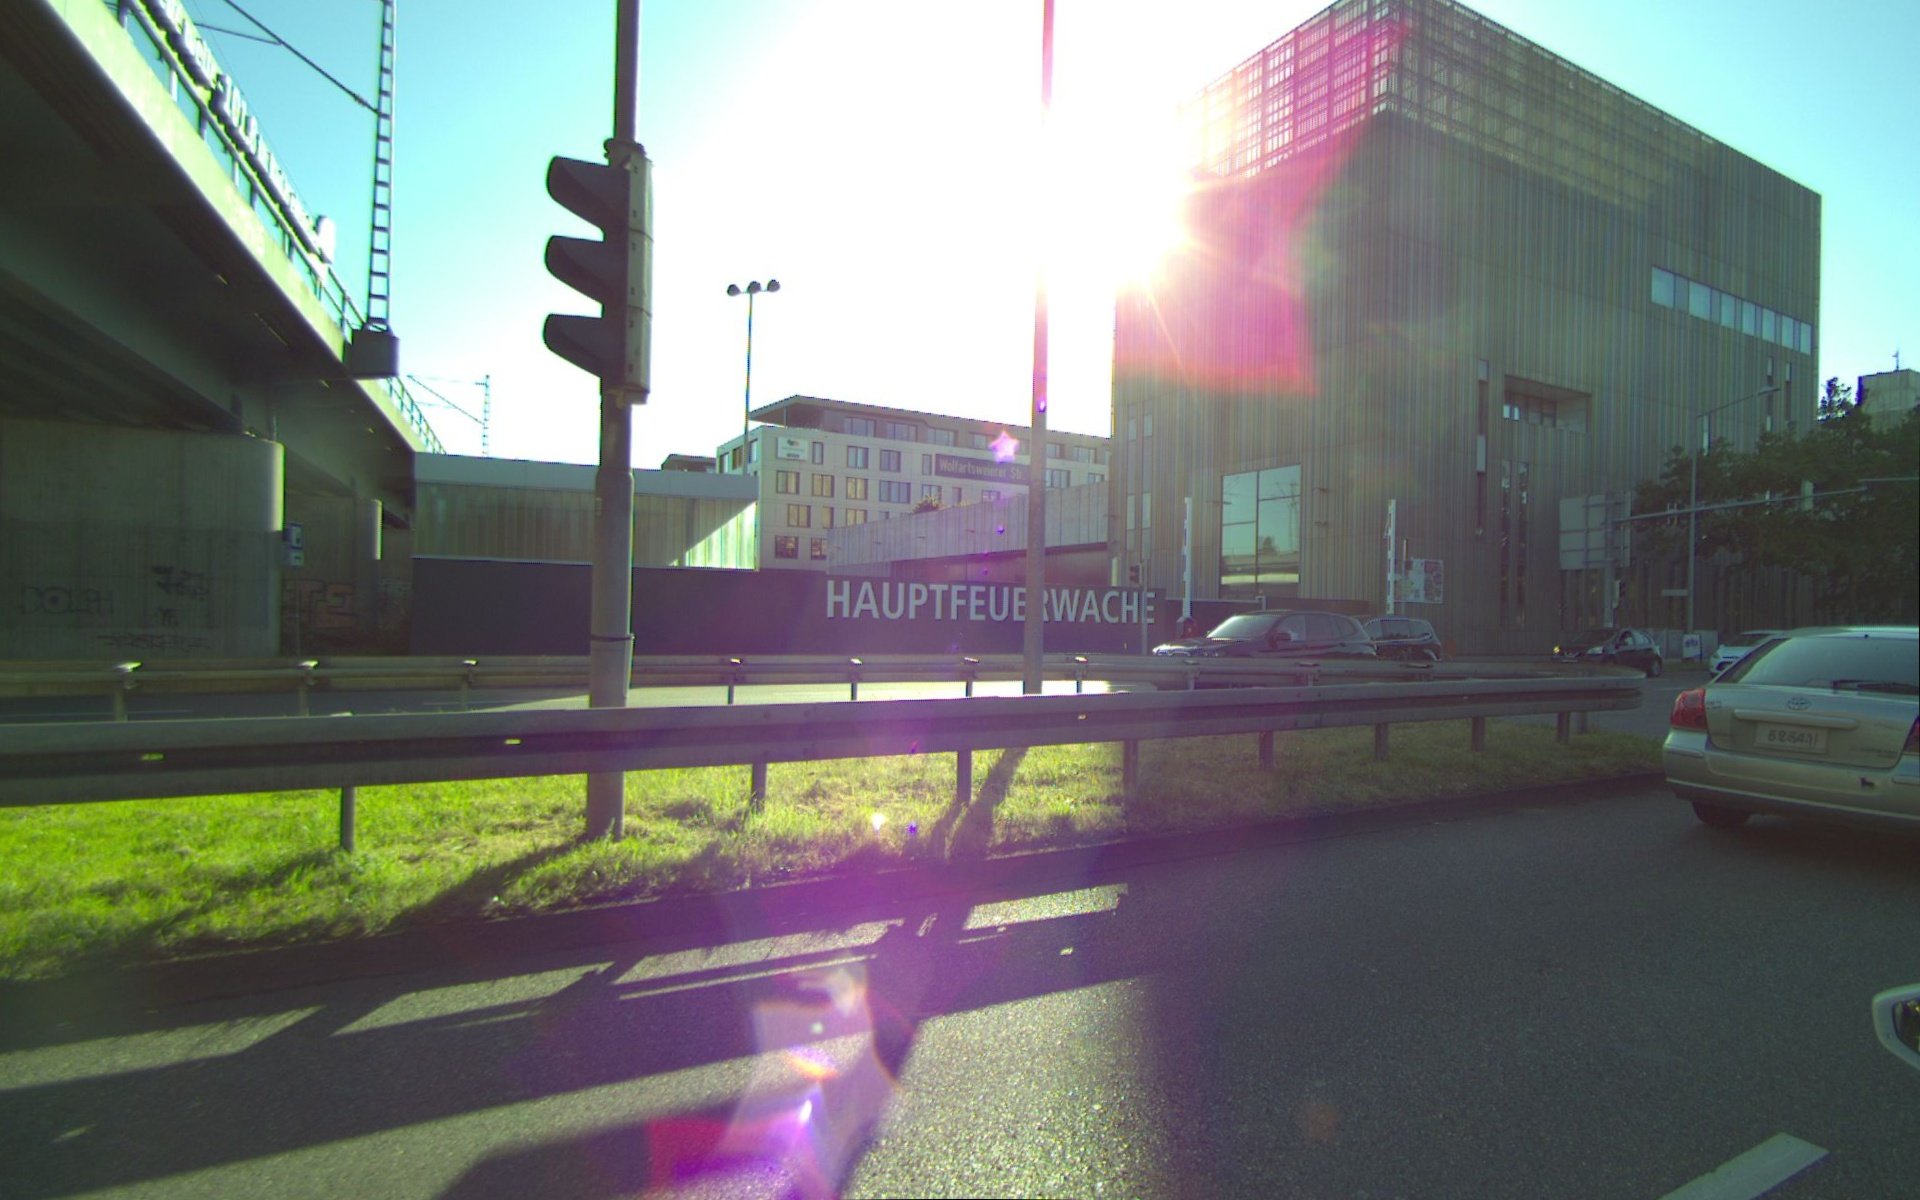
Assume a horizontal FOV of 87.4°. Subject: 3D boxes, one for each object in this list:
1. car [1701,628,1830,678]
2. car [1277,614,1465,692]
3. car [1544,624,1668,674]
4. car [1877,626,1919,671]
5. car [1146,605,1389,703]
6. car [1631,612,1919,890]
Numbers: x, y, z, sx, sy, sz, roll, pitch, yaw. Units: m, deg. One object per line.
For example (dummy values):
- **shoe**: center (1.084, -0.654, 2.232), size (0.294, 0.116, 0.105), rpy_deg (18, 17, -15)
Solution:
- **car**: center (23.942, 1.581, 29.840), size (3.930, 1.423, 1.639), rpy_deg (2, -3, -30)
- **car**: center (10.033, 1.298, 24.440), size (4.574, 1.760, 1.817), rpy_deg (2, -3, -30)
- **car**: center (20.297, 1.548, 31.534), size (3.930, 1.501, 1.639), rpy_deg (2, -3, -30)
- **car**: center (35.340, 1.793, 36.581), size (4.347, 1.565, 1.639), rpy_deg (2, -3, -30)
- **car**: center (5.767, 1.013, 18.714), size (4.476, 1.646, 1.816), rpy_deg (2, -3, -30)
- **car**: center (6.820, 0.905, 7.103), size (4.267, 1.499, 1.725), rpy_deg (2, -1, -30)
